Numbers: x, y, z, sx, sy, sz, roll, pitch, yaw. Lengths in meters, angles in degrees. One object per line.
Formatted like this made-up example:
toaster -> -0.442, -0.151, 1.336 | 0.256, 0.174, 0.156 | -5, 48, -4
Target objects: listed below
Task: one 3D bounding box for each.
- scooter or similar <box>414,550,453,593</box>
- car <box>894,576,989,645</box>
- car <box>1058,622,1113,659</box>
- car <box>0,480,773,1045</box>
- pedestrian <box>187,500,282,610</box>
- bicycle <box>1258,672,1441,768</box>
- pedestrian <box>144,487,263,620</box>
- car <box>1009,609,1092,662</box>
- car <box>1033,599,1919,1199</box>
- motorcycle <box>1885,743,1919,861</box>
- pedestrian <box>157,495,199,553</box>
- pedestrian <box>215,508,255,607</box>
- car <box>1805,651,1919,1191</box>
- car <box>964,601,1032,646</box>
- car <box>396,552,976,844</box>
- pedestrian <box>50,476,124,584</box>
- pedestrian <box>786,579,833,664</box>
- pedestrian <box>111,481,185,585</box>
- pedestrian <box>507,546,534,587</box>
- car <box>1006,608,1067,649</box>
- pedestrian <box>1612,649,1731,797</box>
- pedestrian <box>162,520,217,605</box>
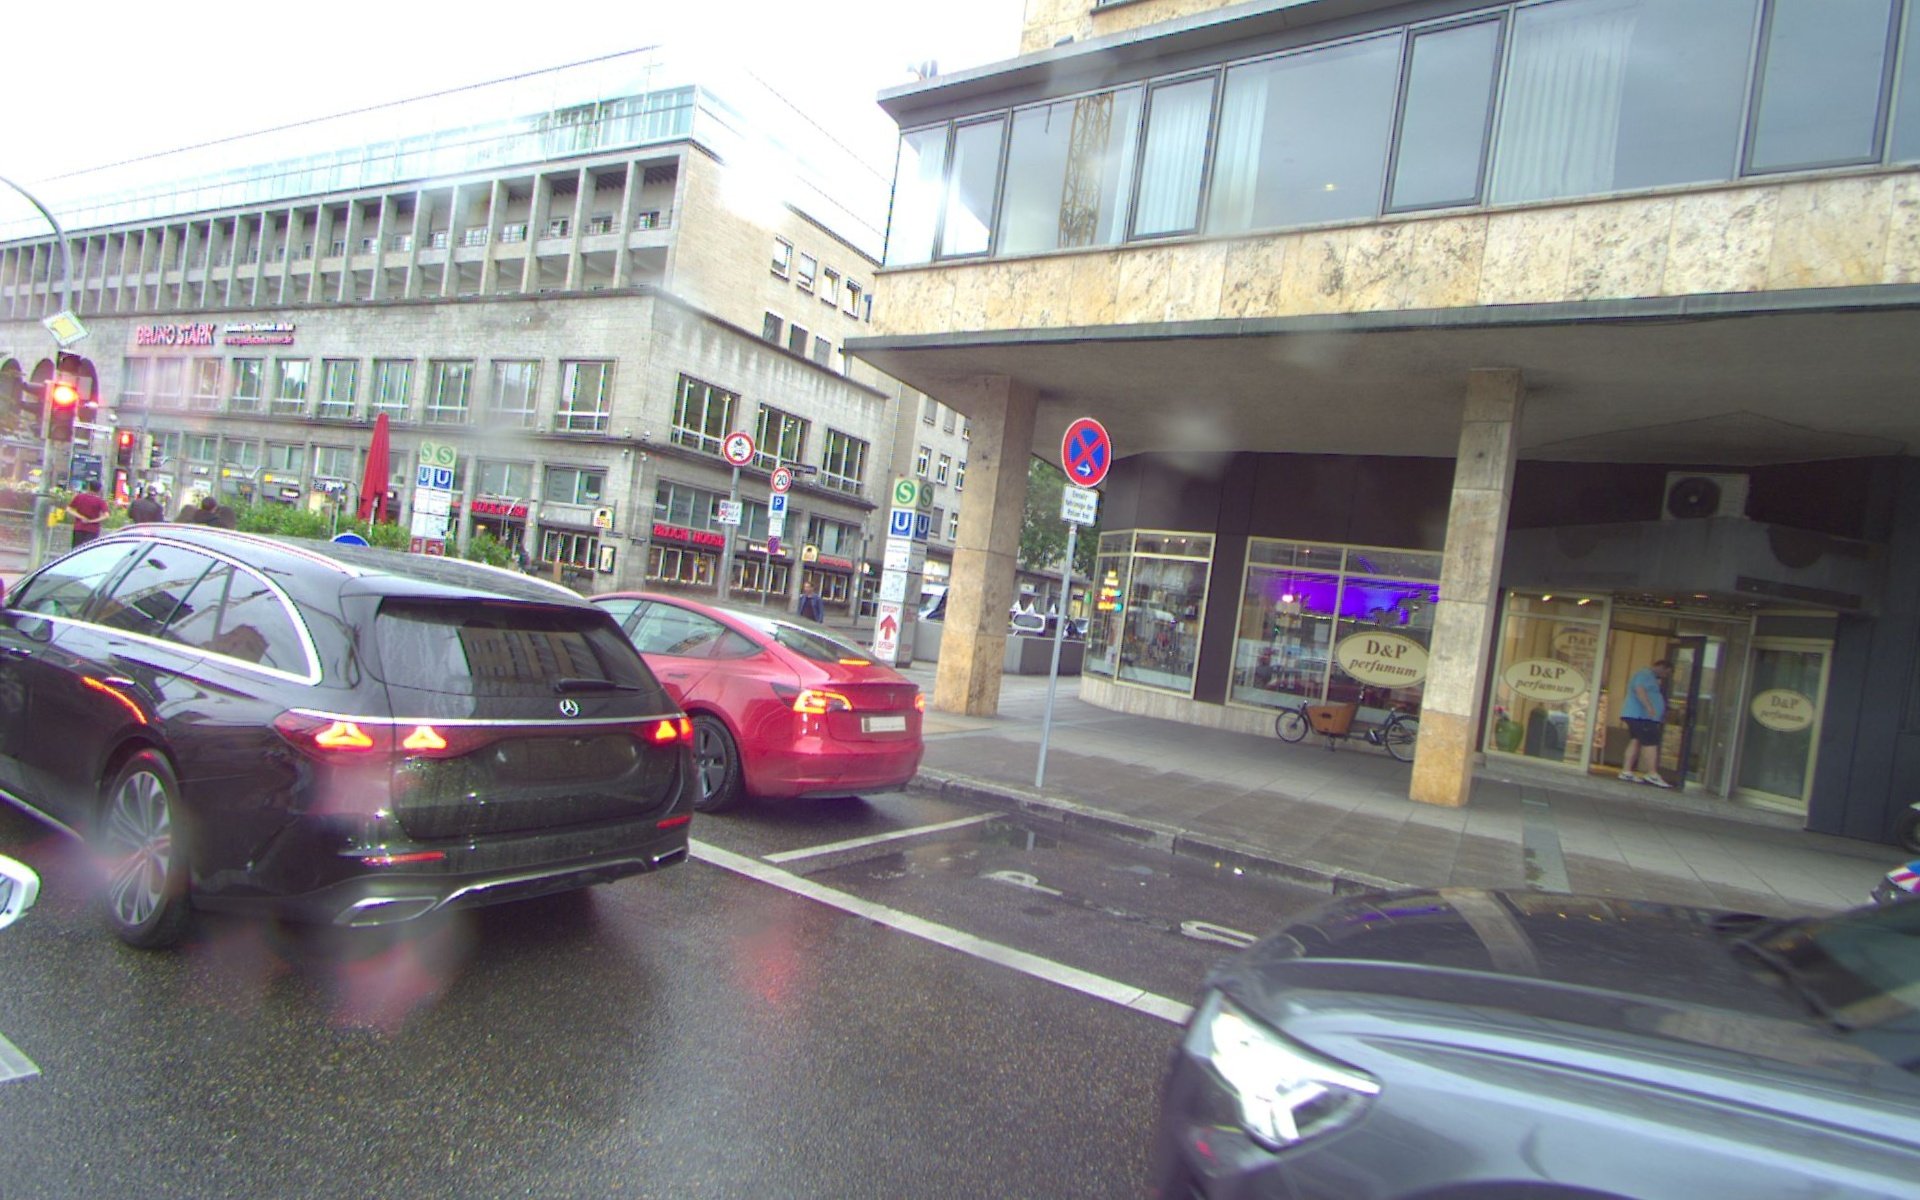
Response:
scooter or similar -> -16.361, -0.892, 31.271 | 1.000, 1.203, 0.291 | 7, -1, 13
car -> -0.845, 0.623, 51.530 | 1.965, 2.792, 6.187 | 7, -2, 26
car -> 8.844, 2.864, 70.440 | 1.966, 2.065, 4.833 | 7, -2, 29
car -> -3.293, 0.381, 4.817 | 4.551, 1.519, 1.797 | 6, -2, 31
pedestrian -> -11.951, -0.733, 16.584 | 0.884, 1.645, 0.795 | 7, -1, 28
bicycle -> 5.920, 1.806, 15.358 | 2.431, 1.058, 0.657 | 6, -1, 32
pedestrian -> -10.851, -0.643, 14.449 | 0.642, 1.774, 1.097 | 7, 2, 29
car -> 4.268, 1.702, 46.796 | 1.966, 1.995, 4.638 | 7, -1, 29
car -> 2.441, 1.049, 1.414 | 4.271, 1.519, 1.882 | 6, -2, 32
motorcycle -> 11.147, 2.278, 10.494 | 2.074, 1.232, 0.567 | 6, -2, 40
pedestrian -> -29.293, -2.830, 37.694 | 0.754, 2.037, 0.822 | 8, -1, -16
pedestrian -> -13.577, -0.799, 18.826 | 0.479, 1.774, 0.659 | 4, 2, -38
car -> 5.970, 1.421, 3.011 | 4.853, 1.942, 1.878 | 6, -2, 31
car -> 2.250, 1.410, 58.461 | 1.966, 2.065, 4.557 | 7, -2, 29
car -> -2.326, 0.647, 8.188 | 4.451, 1.503, 1.878 | 6, -2, 31
pedestrian -> -15.268, -1.208, 17.611 | 0.561, 1.772, 0.678 | 7, -1, -15
pedestrian -> -3.365, 0.476, 22.470 | 0.768, 1.777, 0.503 | 8, -1, -15
pedestrian -> -14.624, -1.193, 18.126 | 0.458, 1.737, 0.757 | 7, -1, 28
pedestrian -> -17.822, -1.350, 40.772 | 0.748, 1.530, 0.714 | 8, -1, -16
car -> 4.894, 1.806, 63.491 | 1.966, 2.065, 4.483 | 7, -2, 29
pedestrian -> 9.724, 1.666, 13.750 | 1.119, 1.811, 0.798 | 6, -1, 39
pedestrian -> -14.082, -0.684, 18.398 | 0.627, 1.444, 0.485 | 8, -1, -36
